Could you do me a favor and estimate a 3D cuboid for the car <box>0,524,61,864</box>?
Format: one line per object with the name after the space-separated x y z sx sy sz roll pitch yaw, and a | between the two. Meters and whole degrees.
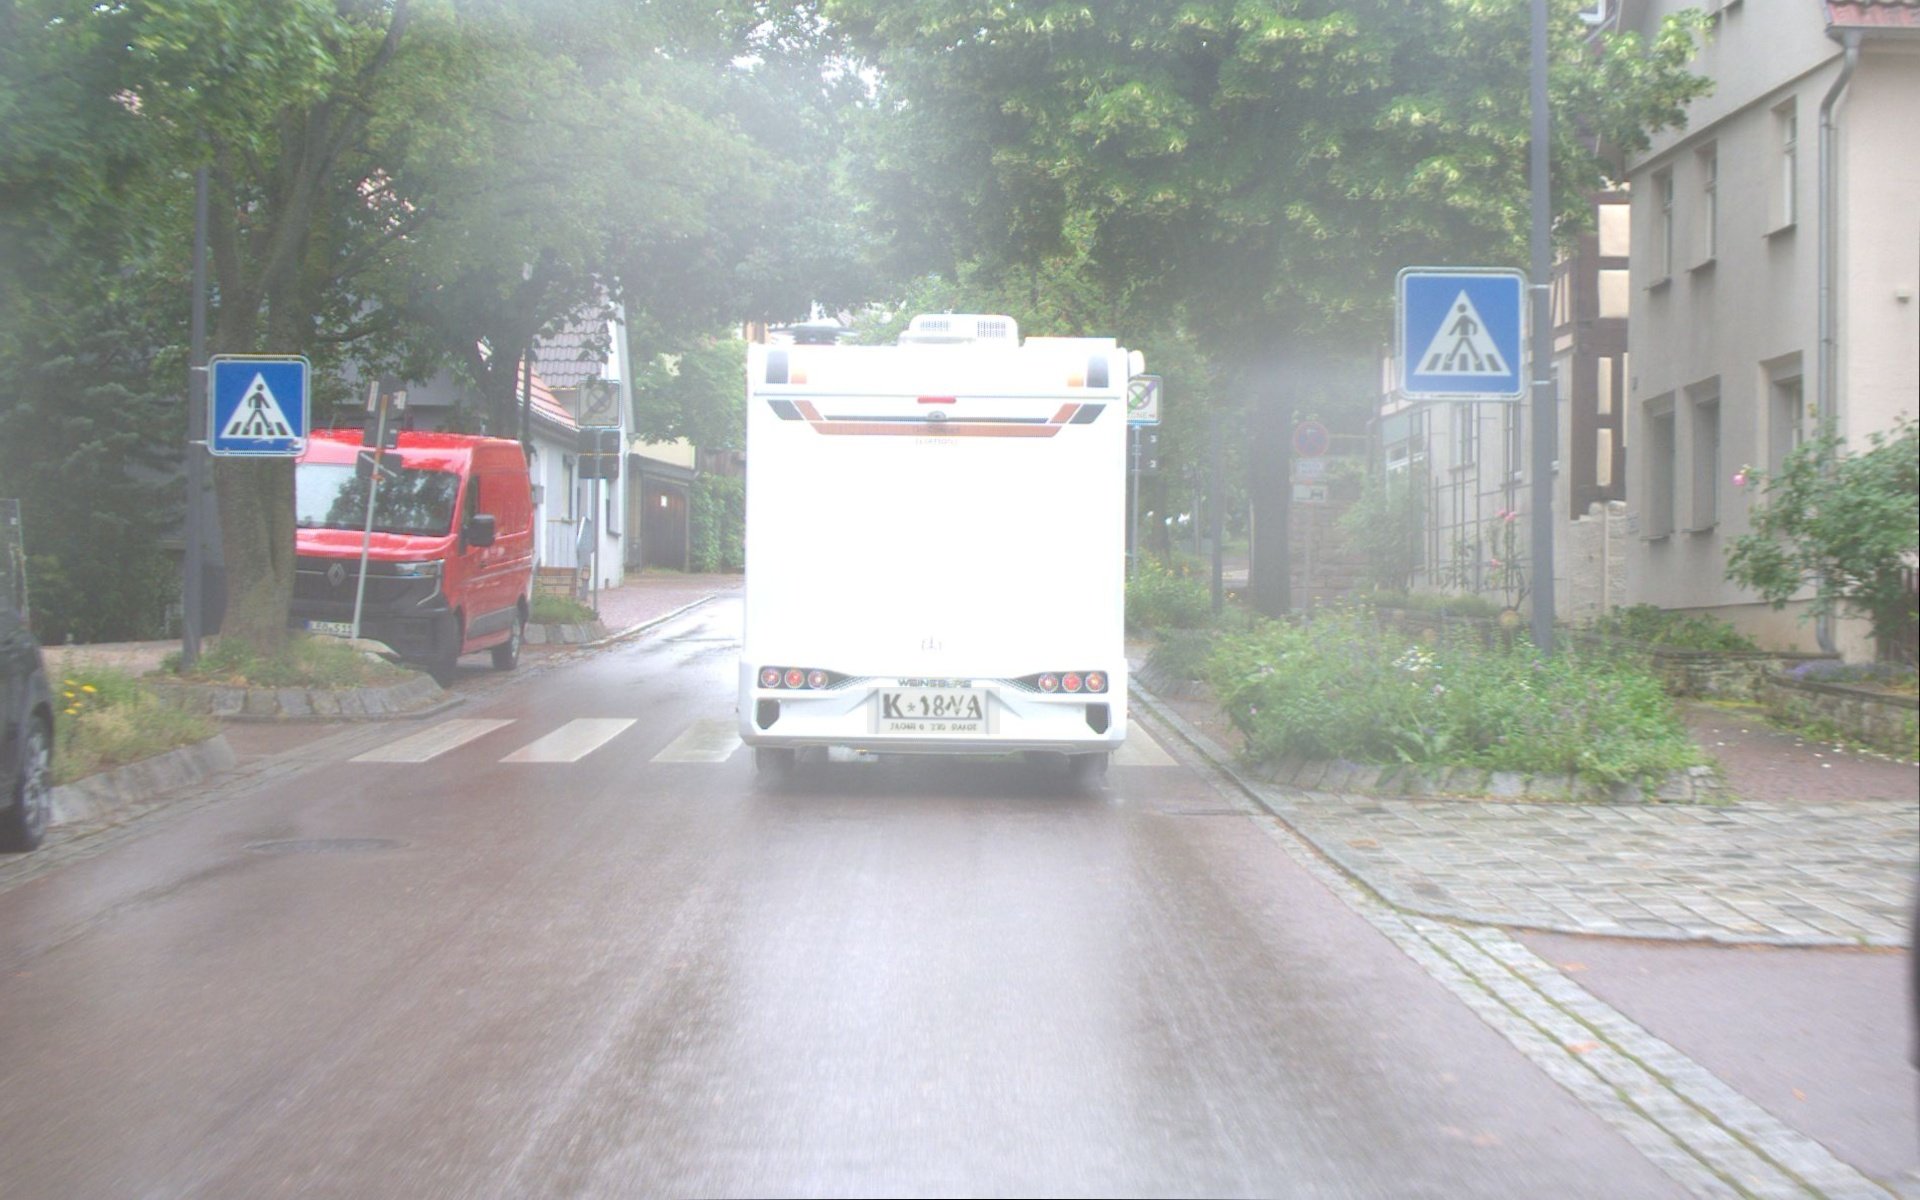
-5.248 0.426 14.648 1.771 1.548 4.000 3 1 -1 | car

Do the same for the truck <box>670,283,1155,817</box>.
-0.301 -0.313 22.575 2.694 2.975 6.237 1 1 -1 | truck

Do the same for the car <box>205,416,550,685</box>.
-5.784 -0.554 34.958 2.303 2.474 5.785 1 2 2 | car

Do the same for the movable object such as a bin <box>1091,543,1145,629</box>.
2.255 -0.199 49.046 0.721 1.208 0.727 1 1 0 | movable object such as a bin

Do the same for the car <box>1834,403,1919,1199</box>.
3.042 0.517 5.643 1.914 1.786 4.489 1 1 -2 | car
